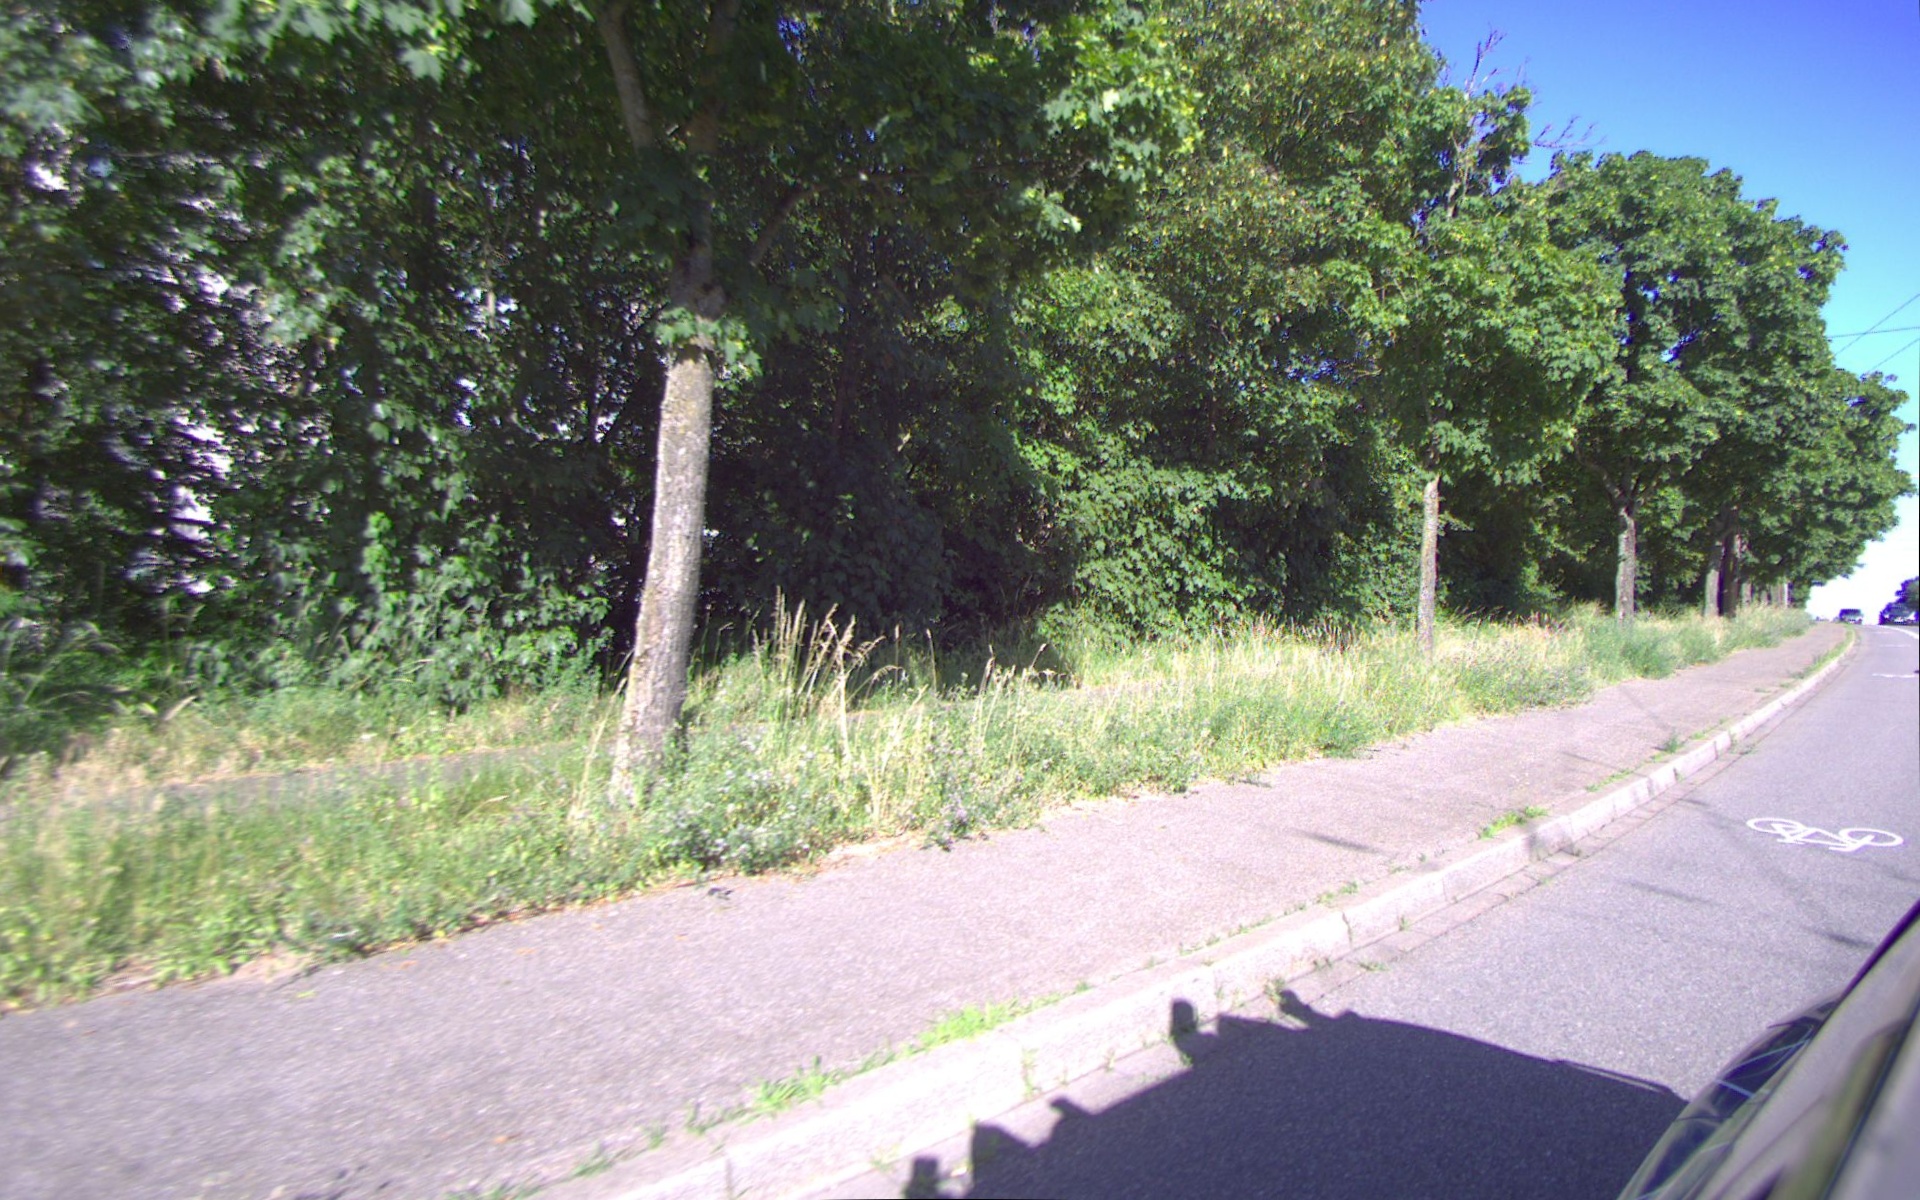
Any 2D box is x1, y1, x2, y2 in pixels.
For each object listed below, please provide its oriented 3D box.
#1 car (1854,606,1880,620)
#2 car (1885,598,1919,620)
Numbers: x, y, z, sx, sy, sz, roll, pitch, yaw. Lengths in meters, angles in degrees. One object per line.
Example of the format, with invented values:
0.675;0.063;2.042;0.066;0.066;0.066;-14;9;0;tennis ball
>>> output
113.136;1.584;126.278;1.988;1.606;3.947;1;0;36;car
69.219;0.649;74.072;1.990;1.606;3.943;1;0;39;car
